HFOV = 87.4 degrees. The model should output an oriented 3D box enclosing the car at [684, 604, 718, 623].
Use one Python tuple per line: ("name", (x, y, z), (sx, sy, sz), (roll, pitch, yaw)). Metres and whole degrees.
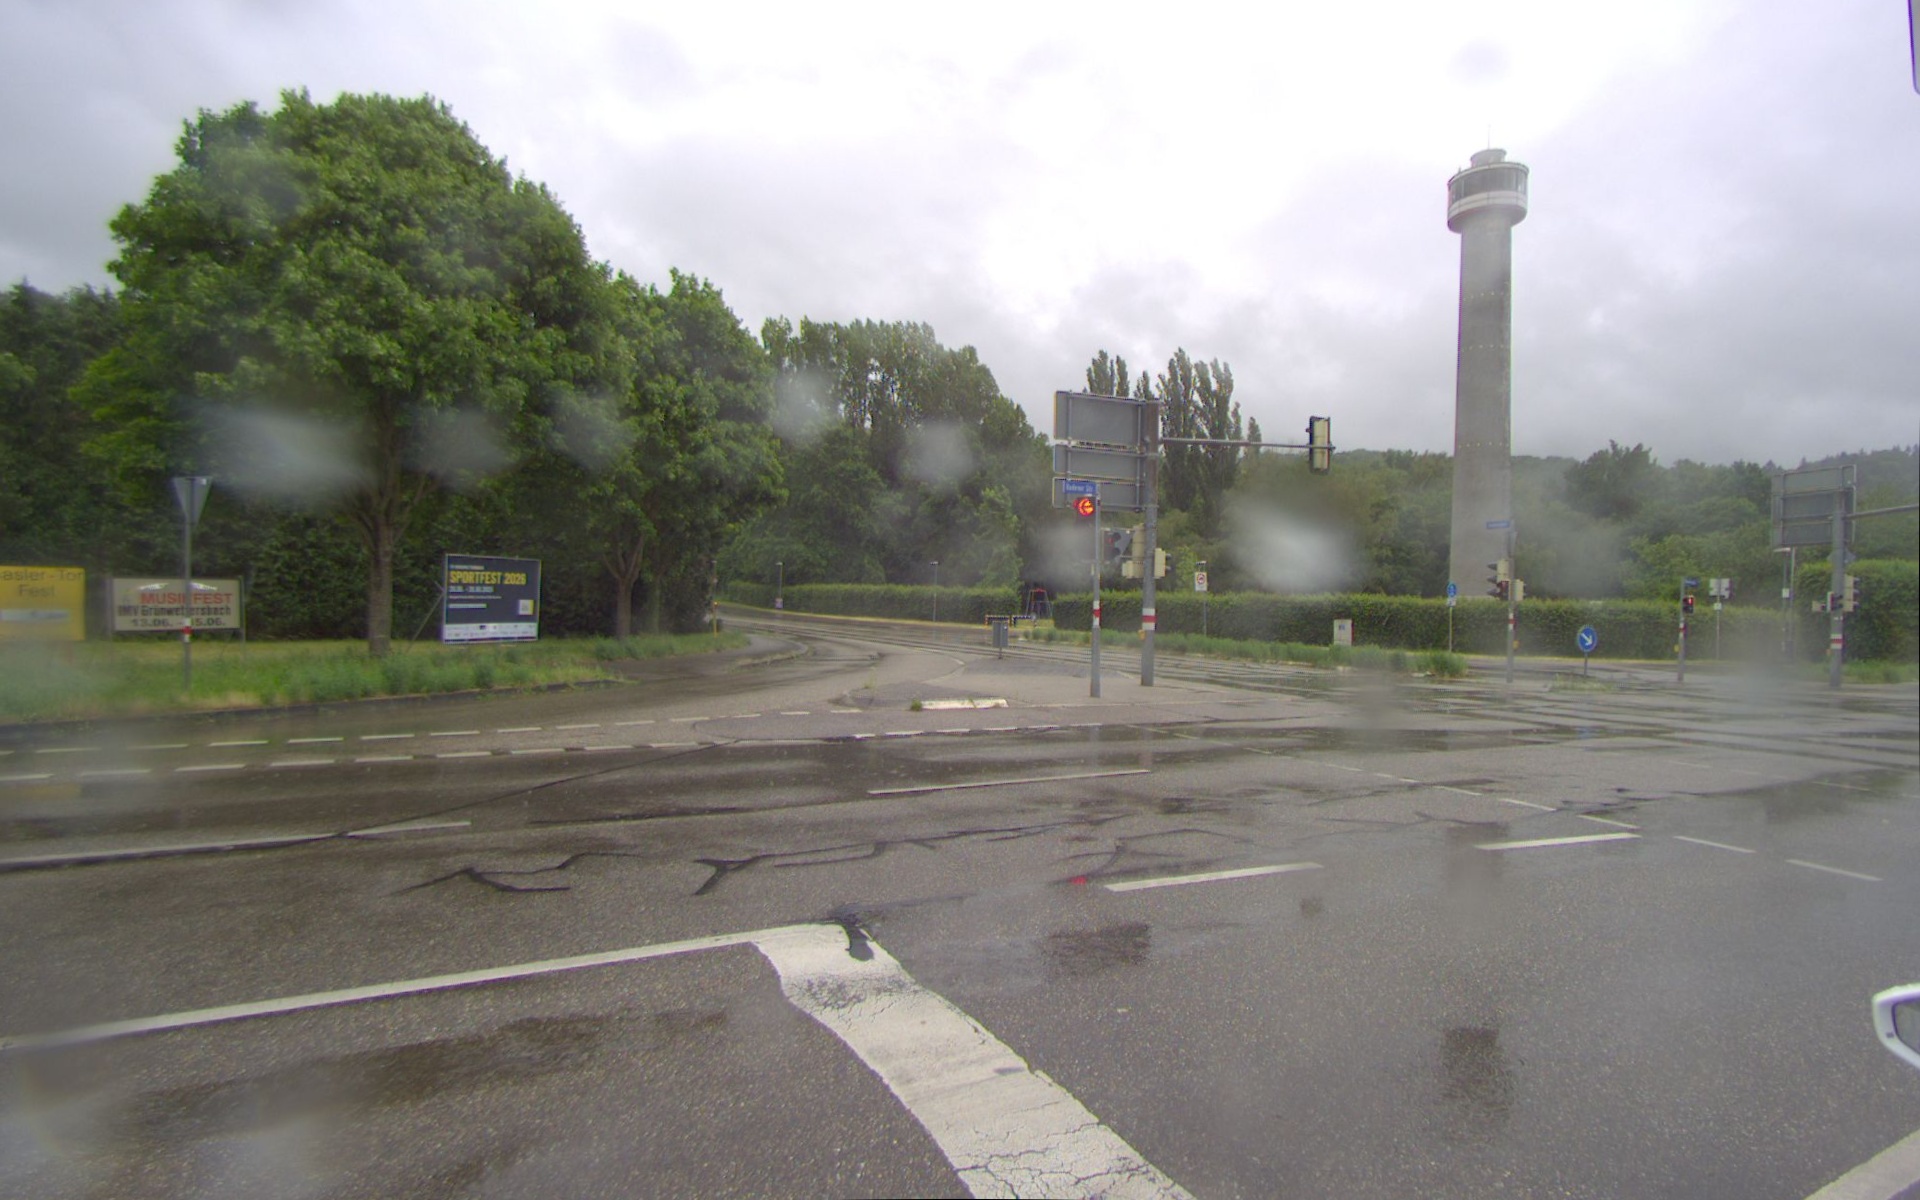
("car", (-23.490, 1.208, 91.009), (1.744, 1.606, 4.079), (1, -1, -35))
